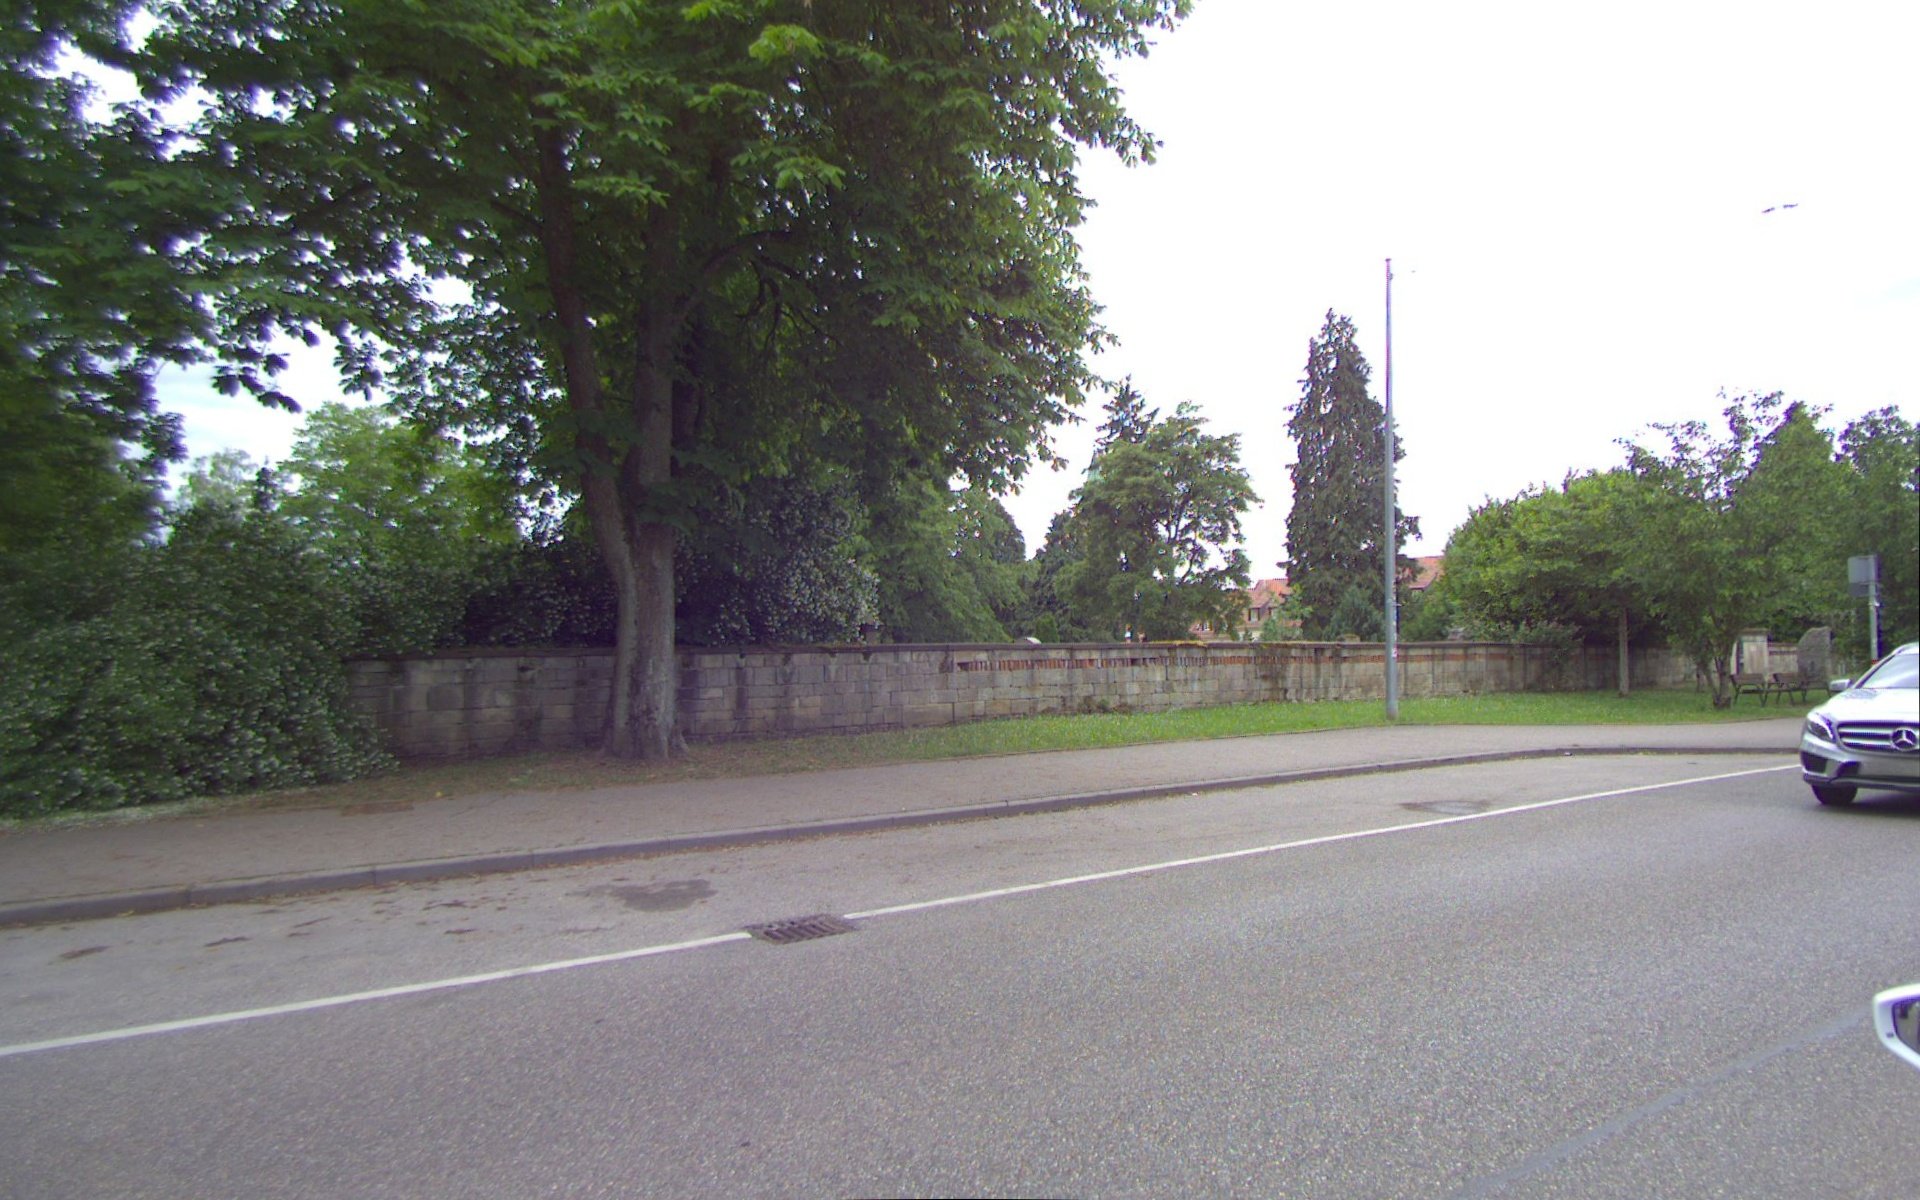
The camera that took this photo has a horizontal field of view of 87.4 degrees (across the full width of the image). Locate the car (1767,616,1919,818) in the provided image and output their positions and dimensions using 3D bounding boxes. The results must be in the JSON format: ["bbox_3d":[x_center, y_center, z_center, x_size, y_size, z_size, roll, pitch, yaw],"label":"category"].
[{"bbox_3d":[9.635,1.028,9.522,4.075,1.675,1.776,2,-5,-32],"label":"car"}]
